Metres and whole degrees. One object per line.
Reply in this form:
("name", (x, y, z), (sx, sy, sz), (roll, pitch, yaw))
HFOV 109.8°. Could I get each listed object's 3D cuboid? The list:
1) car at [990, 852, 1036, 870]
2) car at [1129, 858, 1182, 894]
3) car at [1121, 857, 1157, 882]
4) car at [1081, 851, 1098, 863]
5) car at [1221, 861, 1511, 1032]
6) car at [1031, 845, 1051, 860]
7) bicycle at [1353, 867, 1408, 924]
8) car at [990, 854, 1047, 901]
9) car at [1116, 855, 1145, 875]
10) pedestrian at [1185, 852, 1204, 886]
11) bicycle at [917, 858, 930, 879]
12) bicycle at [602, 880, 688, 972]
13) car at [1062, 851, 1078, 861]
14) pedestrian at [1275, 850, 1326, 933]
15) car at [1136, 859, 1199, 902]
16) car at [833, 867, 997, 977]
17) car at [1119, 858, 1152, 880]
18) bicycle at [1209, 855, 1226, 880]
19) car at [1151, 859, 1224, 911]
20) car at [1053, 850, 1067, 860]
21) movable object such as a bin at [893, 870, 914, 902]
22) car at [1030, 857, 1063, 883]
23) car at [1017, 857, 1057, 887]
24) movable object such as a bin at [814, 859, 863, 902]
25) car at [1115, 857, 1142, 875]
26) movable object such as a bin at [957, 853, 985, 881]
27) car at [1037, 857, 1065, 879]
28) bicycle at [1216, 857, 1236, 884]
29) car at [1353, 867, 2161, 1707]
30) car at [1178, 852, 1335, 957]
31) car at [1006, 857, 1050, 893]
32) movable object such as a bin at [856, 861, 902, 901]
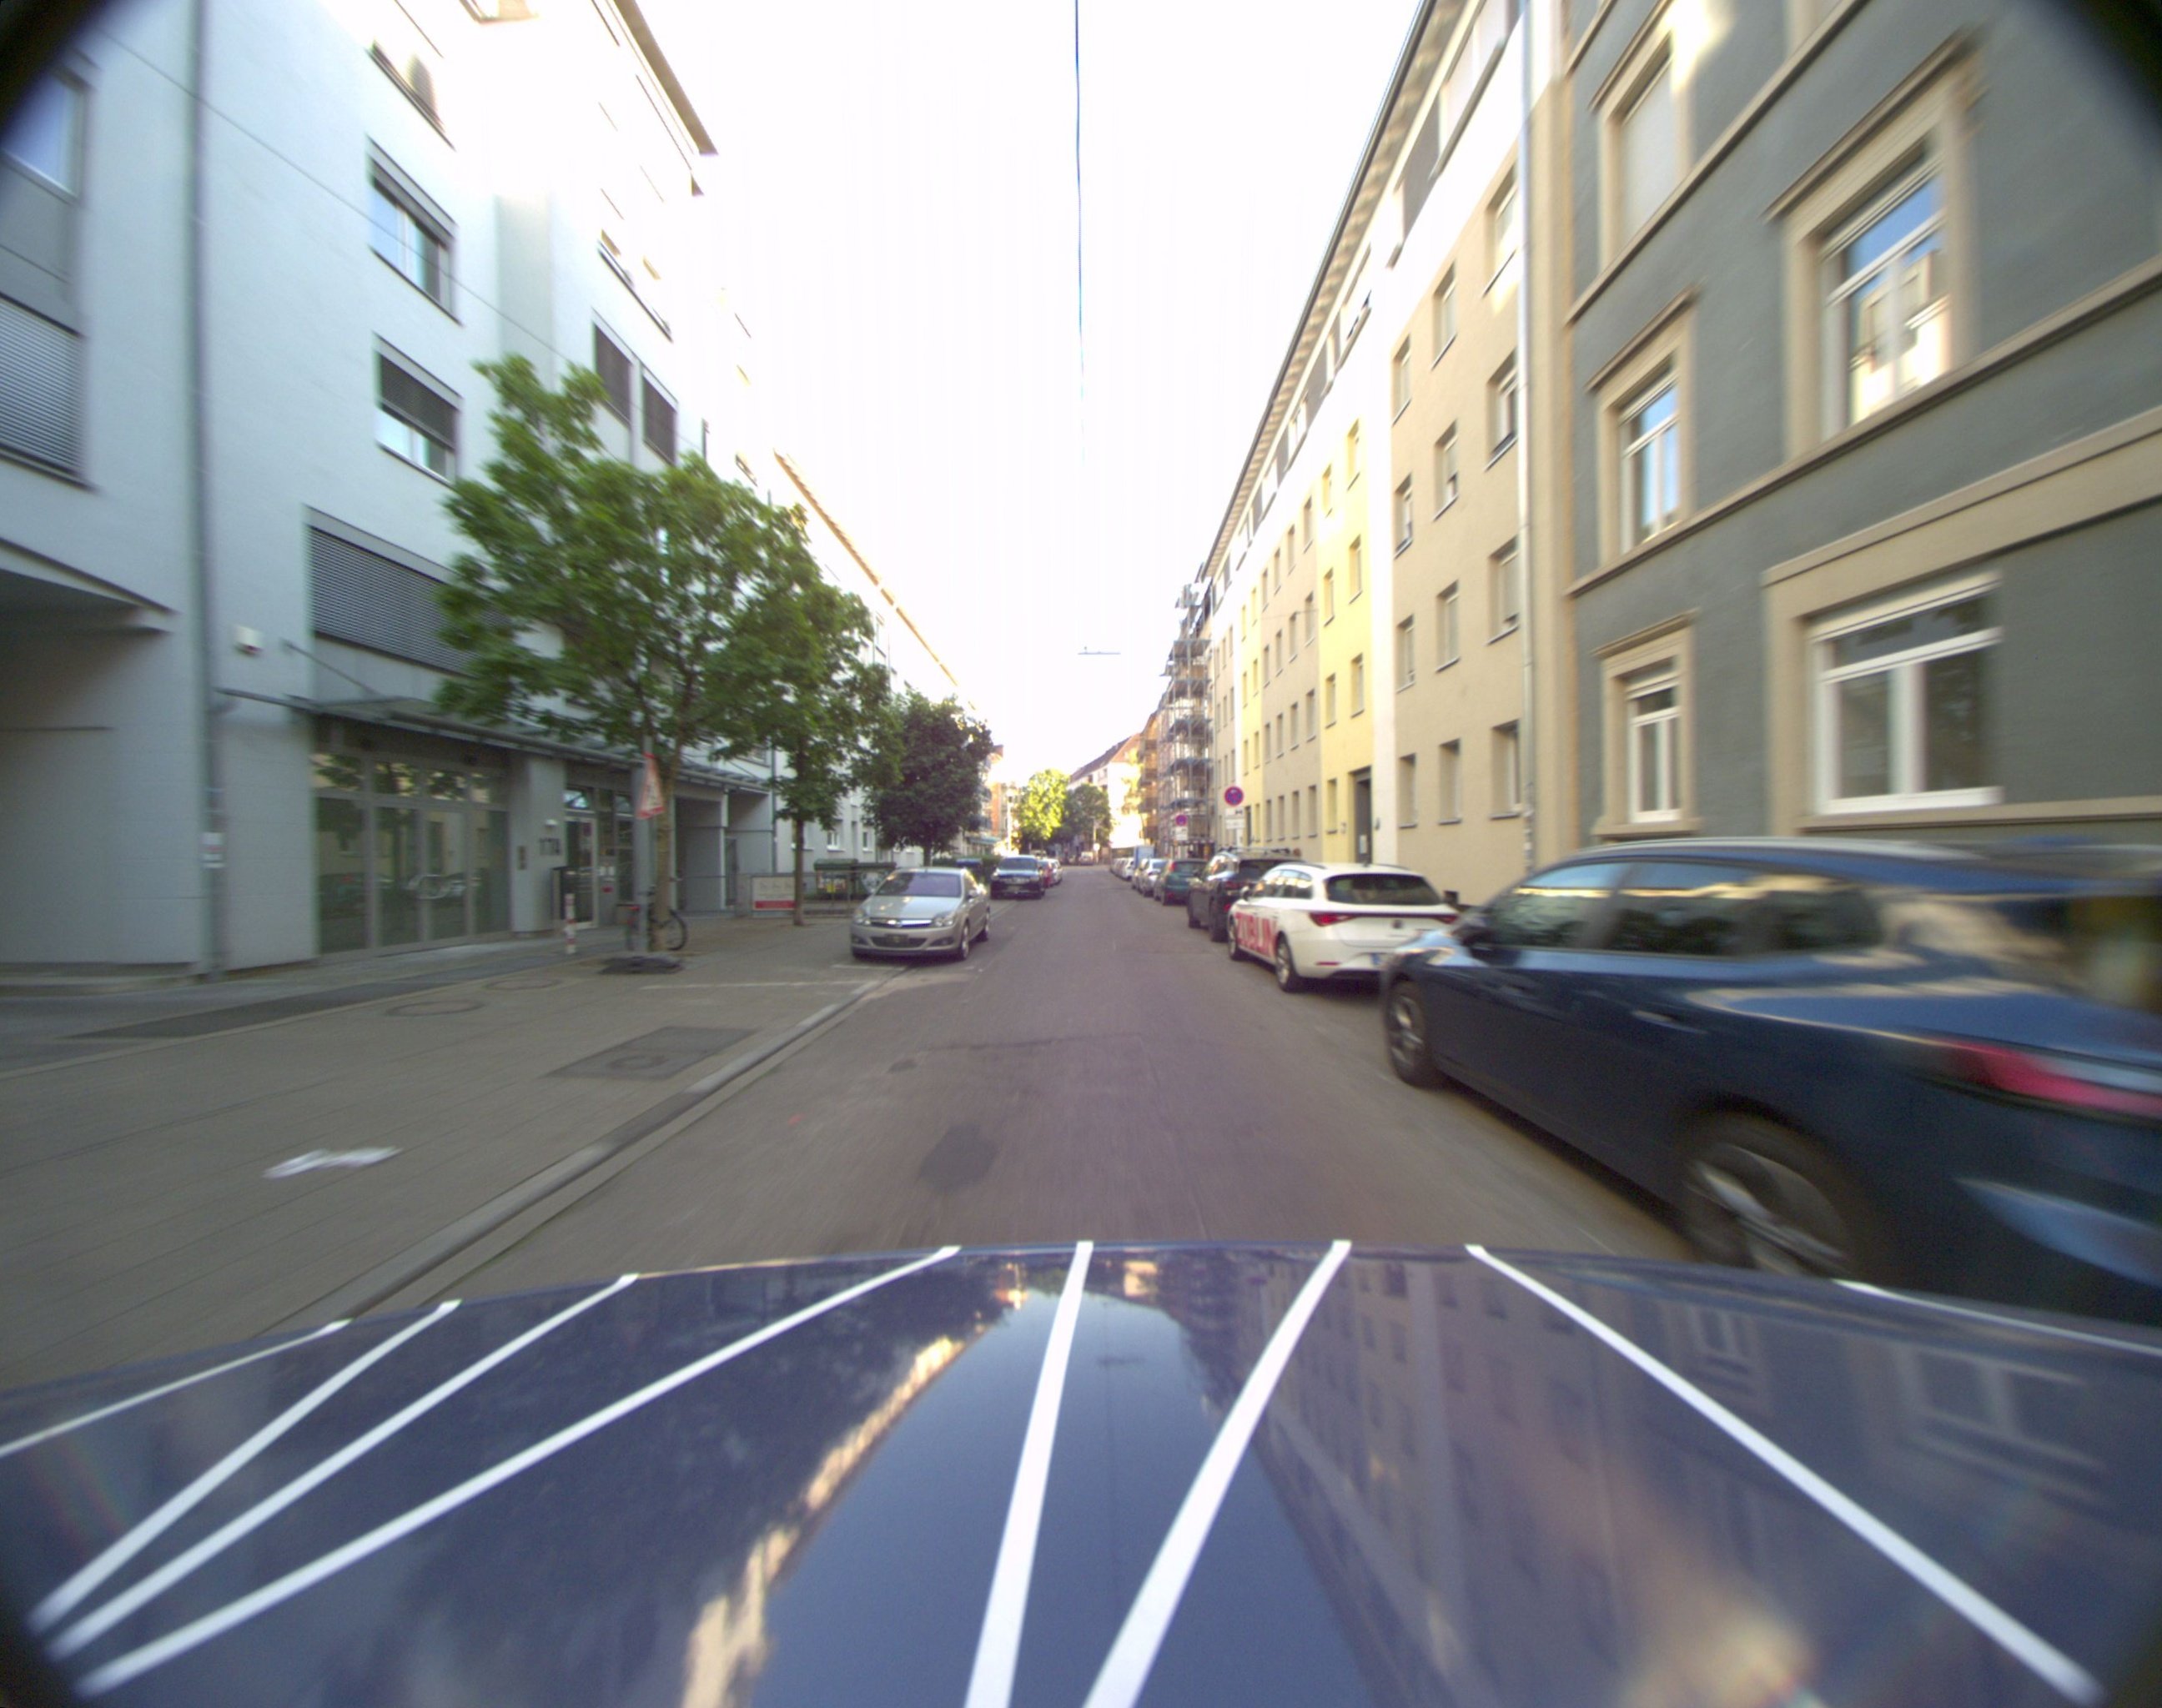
("car", (-6.135, 0.583, 68.707), (3.997, 1.556, 1.999), (1, 1, -1))
("car", (3.355, 0.963, 34.993), (1.927, 1.480, 4.616), (1, 0, -1))
("car", (3.738, 1.003, 49.443), (1.999, 1.496, 3.999), (1, 0, -1))
("car", (1.199, 0.391, 112.341), (2.081, 1.760, 4.215), (1, 0, -6))
("car", (3.091, 0.894, 9.324), (1.925, 1.551, 4.267), (1, 0, 0))
("car", (-6.357, -0.238, 121.169), (2.163, 2.270, 6.200), (0, 0, -13))
("bicycle", (6.223, 0.833, 15.874), (0.451, 1.068, 1.751), (-2, 1, 1))
("car", (-2.337, 0.837, 29.534), (1.876, 1.626, 4.721), (1, 0, -1))
("car", (3.840, 0.822, 59.583), (1.999, 1.423, 3.999), (1, 0, -1))
("pedestrian", (5.954, 0.759, 39.947), (0.791, 1.750, 1.092), (1, 1, 1))
("bicycle", (-8.317, 0.749, 40.217), (0.602, 1.084, 1.738), (0, 1, -10))
("bicycle", (-6.325, 1.006, 11.122), (0.521, 1.161, 1.738), (0, 1, -10))
("car", (-1.879, 0.336, 128.374), (2.081, 1.760, 4.214), (1, 0, -7))
("pedestrian", (4.879, 0.801, 16.949), (0.791, 1.780, 1.092), (1, 1, 1))
("car", (3.265, 0.963, 29.626), (1.927, 1.480, 4.617), (1, 0, 0))
("car", (-2.588, 1.000, 12.901), (1.768, 1.421, 4.344), (1, 0, 1))
("car", (3.868, 1.056, 54.272), (1.999, 1.439, 3.999), (-1, 0, -1))
("bicycle", (6.697, 0.638, 37.408), (0.405, 1.162, 1.816), (-4, 1, -2))
("car", (3.354, 0.927, 24.767), (1.783, 1.480, 4.420), (1, 0, 1))
("car", (-3.424, 0.186, 123.118), (1.830, 1.496, 3.997), (1, 0, -7))
("movable object such as a bin", (-5.968, 1.070, 25.570), (0.529, 1.065, 0.625), (0, 1, 1))
("car", (-1.991, 0.926, 45.023), (1.680, 1.411, 4.136), (1, 0, 1))
("car", (-2.275, 0.919, 40.085), (1.680, 1.474, 3.652), (1, 0, 3))
("movable object such as a bin", (-8.181, 0.875, 25.681), (1.264, 1.428, 1.139), (0, 1, 1))
("car", (4.020, 1.044, 65.008), (1.999, 1.423, 3.999), (1, 0, -1))
("movable object such as a bin", (-5.808, 0.683, 40.346), (1.287, 1.428, 1.223), (0, 1, 1))
("car", (-1.977, 0.918, 51.214), (1.680, 1.411, 4.135), (1, 0, 0))
("bicycle", (6.629, 0.719, 34.744), (0.479, 1.162, 1.732), (-4, 1, -2))
("car", (2.972, 0.887, 3.422), (1.925, 1.551, 4.267), (1, 0, 0))
("car", (3.122, 0.822, 14.527), (1.925, 1.654, 4.468), (1, 0, 0))
("car", (-2.340, 0.920, 34.390), (1.680, 1.474, 3.652), (1, 0, 1))
("movable object such as a bin", (-6.871, 0.905, 25.917), (1.264, 1.313, 1.139), (0, 1, 1))
